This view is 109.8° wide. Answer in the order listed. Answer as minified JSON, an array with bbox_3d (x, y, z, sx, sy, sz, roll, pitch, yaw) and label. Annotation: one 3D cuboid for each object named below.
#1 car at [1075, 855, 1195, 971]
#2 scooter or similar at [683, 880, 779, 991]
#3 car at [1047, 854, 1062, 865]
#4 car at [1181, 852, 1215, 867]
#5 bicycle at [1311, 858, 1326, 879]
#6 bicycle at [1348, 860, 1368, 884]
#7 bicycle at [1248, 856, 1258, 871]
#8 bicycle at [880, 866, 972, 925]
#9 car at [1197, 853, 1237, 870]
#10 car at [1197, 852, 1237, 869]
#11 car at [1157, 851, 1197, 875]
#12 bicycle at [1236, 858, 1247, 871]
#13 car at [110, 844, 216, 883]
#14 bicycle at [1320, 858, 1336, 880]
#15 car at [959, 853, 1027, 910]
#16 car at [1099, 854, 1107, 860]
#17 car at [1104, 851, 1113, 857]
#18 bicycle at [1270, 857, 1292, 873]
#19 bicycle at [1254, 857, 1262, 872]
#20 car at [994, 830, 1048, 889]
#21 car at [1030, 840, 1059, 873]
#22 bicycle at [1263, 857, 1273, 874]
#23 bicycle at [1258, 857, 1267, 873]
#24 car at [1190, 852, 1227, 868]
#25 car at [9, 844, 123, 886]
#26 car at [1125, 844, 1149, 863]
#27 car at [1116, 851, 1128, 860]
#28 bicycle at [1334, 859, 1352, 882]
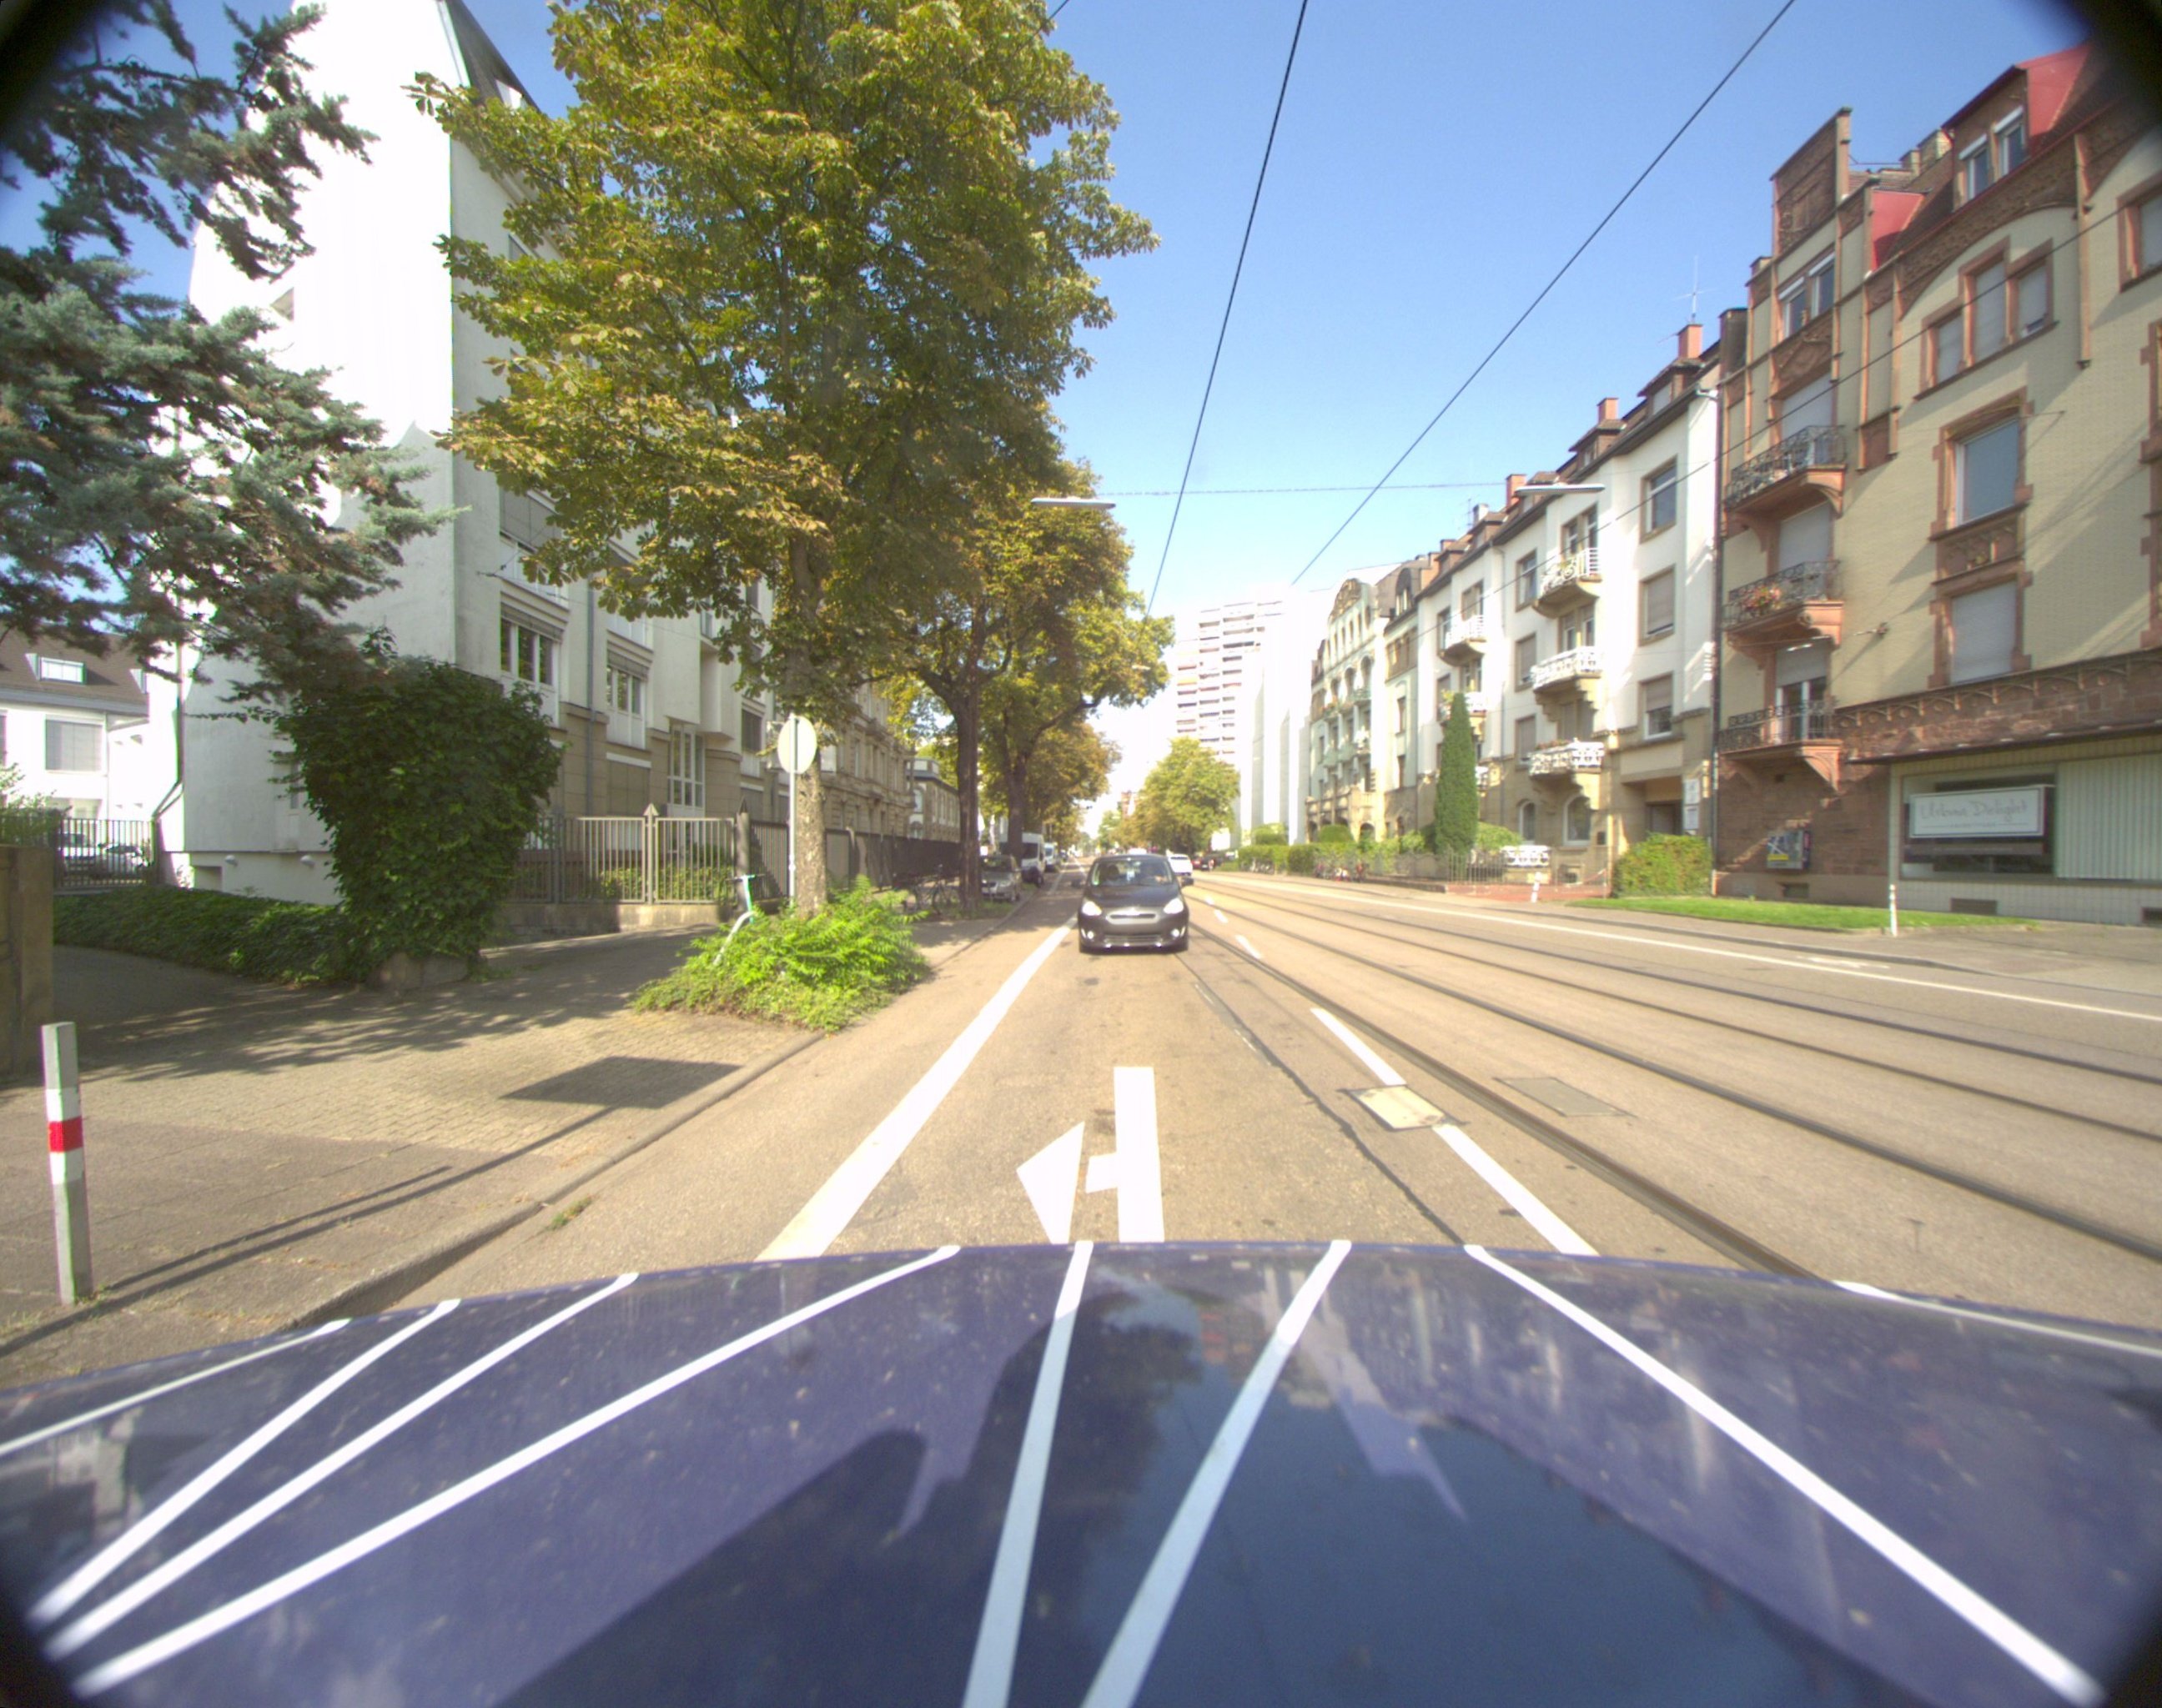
[{"bbox_3d":[0.724,0.804,12.521,1.611,1.515,4.357,-1,0,0],"label":"car"},{"bbox_3d":[-4.184,0.946,9.156,0.559,1.190,1.034,3,1,5],"label":"scooter or similar"},{"bbox_3d":[-3.199,0.656,91.107,1.757,1.349,3.787,0,0,-1],"label":"car"},{"bbox_3d":[12.826,0.591,82.921,1.767,1.518,4.009,1,0,41],"label":"car"},{"bbox_3d":[13.033,0.785,41.788,0.371,1.081,1.355,0,0,-1],"label":"bicycle"},{"bbox_3d":[12.935,0.814,35.484,0.371,1.081,1.487,0,0,-1],"label":"bicycle"},{"bbox_3d":[12.836,0.728,56.718,0.425,1.081,1.676,0,0,2],"label":"bicycle"},{"bbox_3d":[-3.312,0.893,16.353,1.846,1.160,0.503,2,5,-40],"label":"bicycle"},{"bbox_3d":[12.362,0.676,68.823,1.767,1.518,4.009,1,0,41],"label":"car"},{"bbox_3d":[13.038,0.625,72.614,4.009,1.518,1.767,0,1,-44],"label":"car"},{"bbox_3d":[6.484,0.563,51.790,1.877,1.446,4.543,3,0,-3],"label":"car"},{"bbox_3d":[12.699,0.808,60.051,0.425,0.972,1.770,0,0,-1],"label":"bicycle"},{"bbox_3d":[-38.696,0.347,32.019,3.990,1.557,1.839,0,1,24],"label":"car"},{"bbox_3d":[12.992,0.783,40.017,0.371,1.081,1.355,0,0,-1],"label":"bicycle"},{"bbox_3d":[-2.684,0.791,24.044,1.611,1.515,4.357,3,0,0],"label":"car"},{"bbox_3d":[5.370,0.787,187.707,1.757,1.349,3.787,0,0,-1],"label":"car"},{"bbox_3d":[6.238,-0.004,172.432,1.757,1.349,3.788,0,0,1],"label":"car"},{"bbox_3d":[13.367,0.753,50.799,1.397,1.081,0.425,0,1,-18],"label":"bicycle"},{"bbox_3d":[12.725,0.739,54.707,0.425,1.081,1.677,0,0,9],"label":"bicycle"},{"bbox_3d":[-2.714,0.215,35.776,2.051,2.484,6.228,1,0,0],"label":"car"},{"bbox_3d":[-2.921,0.171,62.753,1.998,2.526,5.867,2,0,0],"label":"car"},{"bbox_3d":[12.742,0.777,51.801,0.425,1.081,1.677,0,0,4],"label":"bicycle"},{"bbox_3d":[12.880,0.754,53.898,0.425,1.081,1.677,0,0,9],"label":"bicycle"},{"bbox_3d":[12.675,0.615,75.455,1.767,1.518,4.009,1,0,41],"label":"car"},{"bbox_3d":[-39.727,0.384,29.727,3.990,1.557,1.839,0,1,24],"label":"car"},{"bbox_3d":[6.167,-0.072,84.157,1.999,2.002,4.857,0,0,-3],"label":"car"},{"bbox_3d":[6.922,0.252,129.193,1.701,1.395,4.645,-1,1,-1],"label":"car"},{"bbox_3d":[12.838,0.799,37.258,0.371,1.081,1.355,0,0,-1],"label":"bicycle"}]
